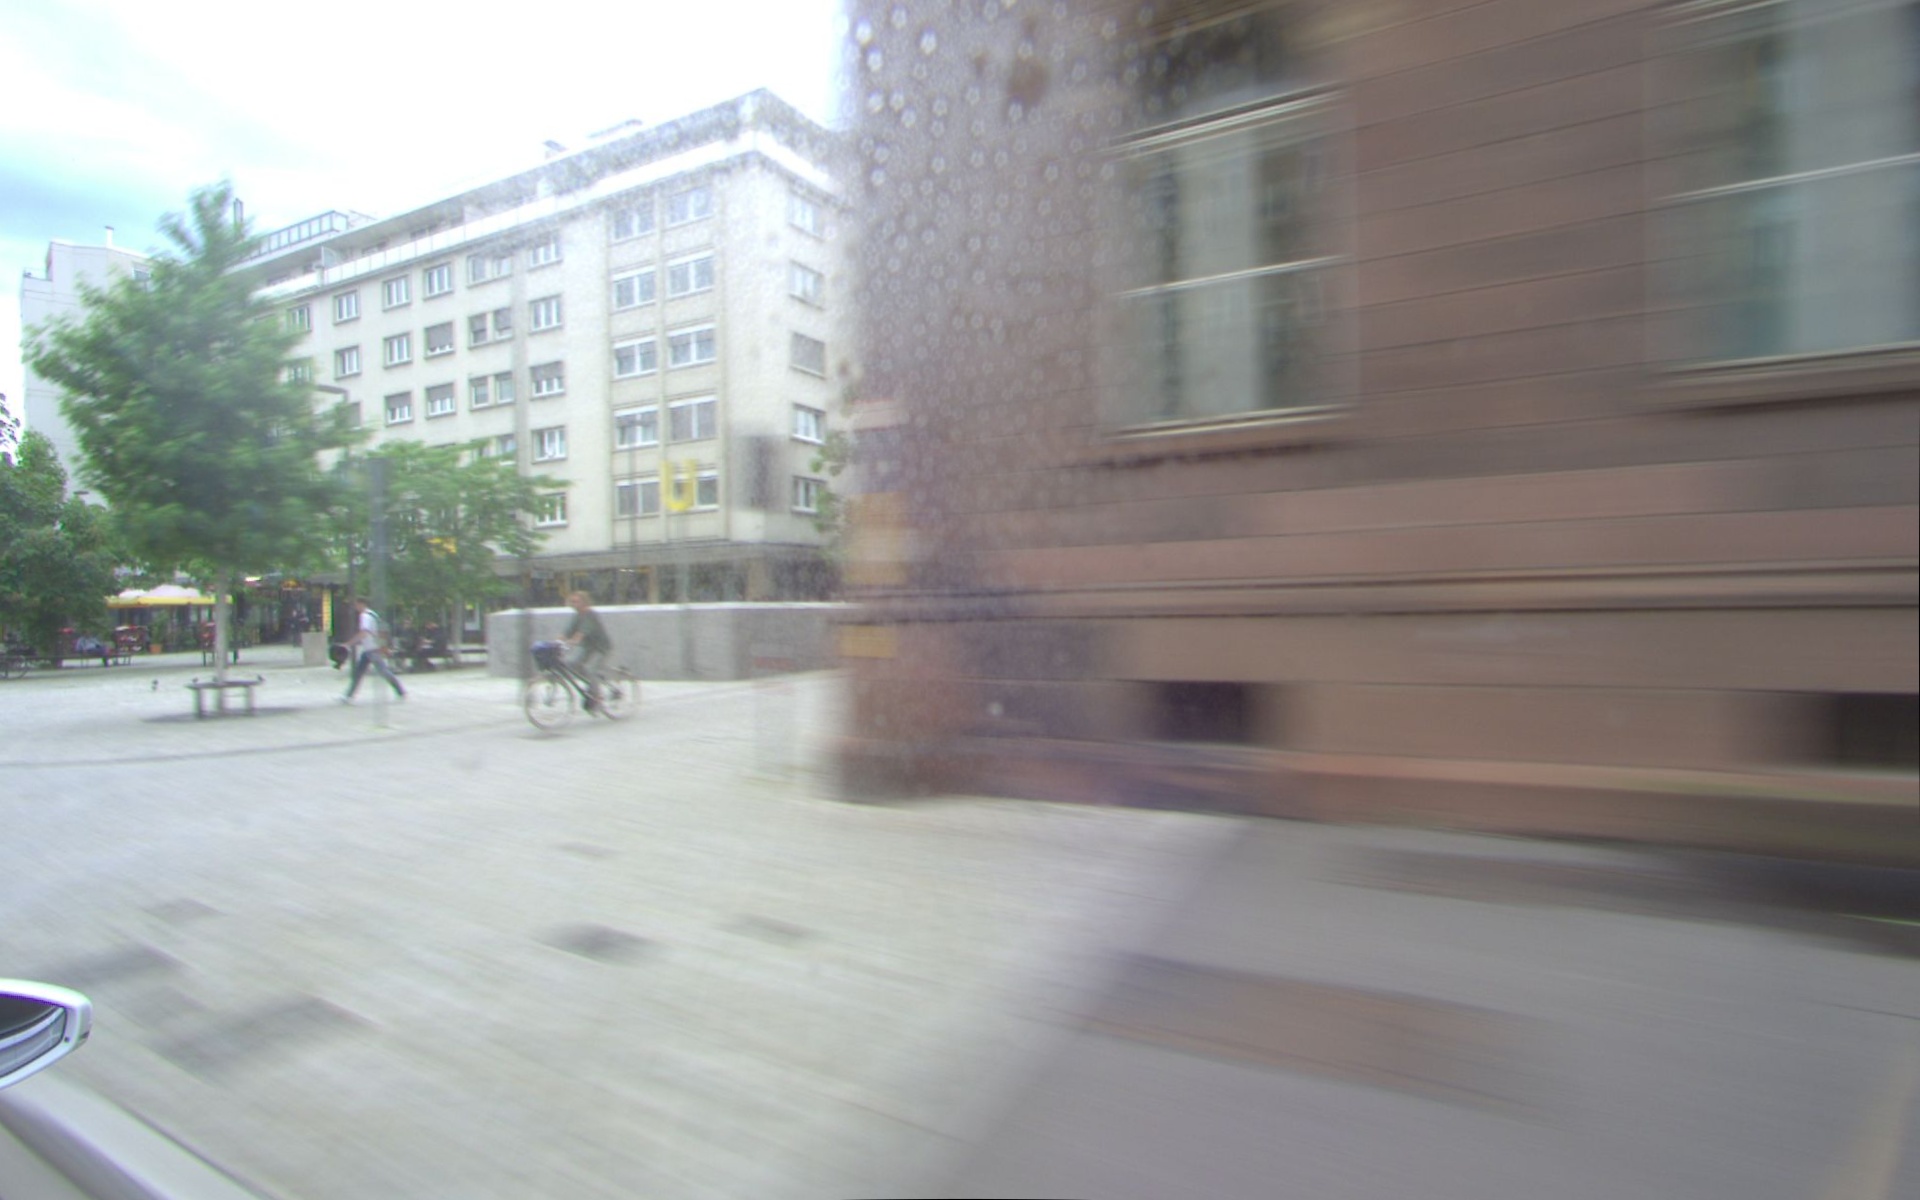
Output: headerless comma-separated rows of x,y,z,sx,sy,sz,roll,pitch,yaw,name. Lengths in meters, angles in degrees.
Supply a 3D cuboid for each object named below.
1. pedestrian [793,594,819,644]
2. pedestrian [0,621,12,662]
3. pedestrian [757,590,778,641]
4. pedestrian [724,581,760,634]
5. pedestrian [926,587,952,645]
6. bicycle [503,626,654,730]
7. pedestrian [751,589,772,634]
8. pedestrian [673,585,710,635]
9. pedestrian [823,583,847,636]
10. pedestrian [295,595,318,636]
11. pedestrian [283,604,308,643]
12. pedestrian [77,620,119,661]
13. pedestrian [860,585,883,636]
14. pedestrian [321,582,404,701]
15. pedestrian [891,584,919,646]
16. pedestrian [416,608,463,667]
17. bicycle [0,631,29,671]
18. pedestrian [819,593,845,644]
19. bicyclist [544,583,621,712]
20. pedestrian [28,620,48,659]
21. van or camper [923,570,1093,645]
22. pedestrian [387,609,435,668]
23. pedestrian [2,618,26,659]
-5.281,0.631,34.382,0.585,1.693,0.637,1,2,44,pedestrian
-32.956,1.406,34.164,0.674,1.384,0.630,-1,-1,10,pedestrian
-6.889,0.538,35.814,0.582,1.792,0.641,-1,1,-25,pedestrian
-8.036,0.281,36.972,1.047,1.927,0.772,-1,1,11,pedestrian
-0.621,0.468,29.768,0.508,1.693,0.586,-1,2,-40,pedestrian
-5.191,1.023,13.739,0.518,1.277,1.927,-1,0,38,bicycle
-7.163,0.408,36.128,0.631,1.607,0.591,0,1,-4,pedestrian
-9.906,0.361,36.980,1.048,1.796,0.771,-1,2,18,pedestrian
-4.006,0.294,32.014,0.508,1.693,0.586,-1,2,-40,pedestrian
-31.476,0.753,48.263,0.763,1.909,0.850,0,-1,-23,pedestrian
-31.166,1.083,46.990,0.763,1.775,0.715,-3,2,-23,pedestrian
-29.558,1.380,34.324,1.388,1.384,0.627,-1,-1,28,pedestrian
-2.909,0.339,33.037,0.508,1.693,0.587,-1,2,-38,pedestrian
-10.008,0.674,16.792,0.761,1.927,0.868,0,2,28,pedestrian
-1.524,0.399,27.791,0.508,1.693,0.586,-1,2,-40,pedestrian
-13.679,0.973,26.327,0.753,1.475,0.779,-2,2,-1,pedestrian
-27.745,1.459,28.410,0.637,1.137,1.906,-1,-2,39,bicycle
-4.335,0.607,33.936,0.636,1.693,0.586,-1,2,-41,pedestrian
-5.180,0.642,13.754,0.564,1.706,0.788,-1,0,38,bicyclist
-32.934,1.403,35.762,0.539,1.384,1.268,0,-1,-43,pedestrian
1.815,0.377,39.329,6.461,2.754,1.992,-1,-1,29,van or camper
-14.511,1.004,26.488,0.753,1.475,0.779,-2,2,-1,pedestrian
-33.089,1.343,35.025,0.624,1.384,0.910,0,-1,-44,pedestrian
